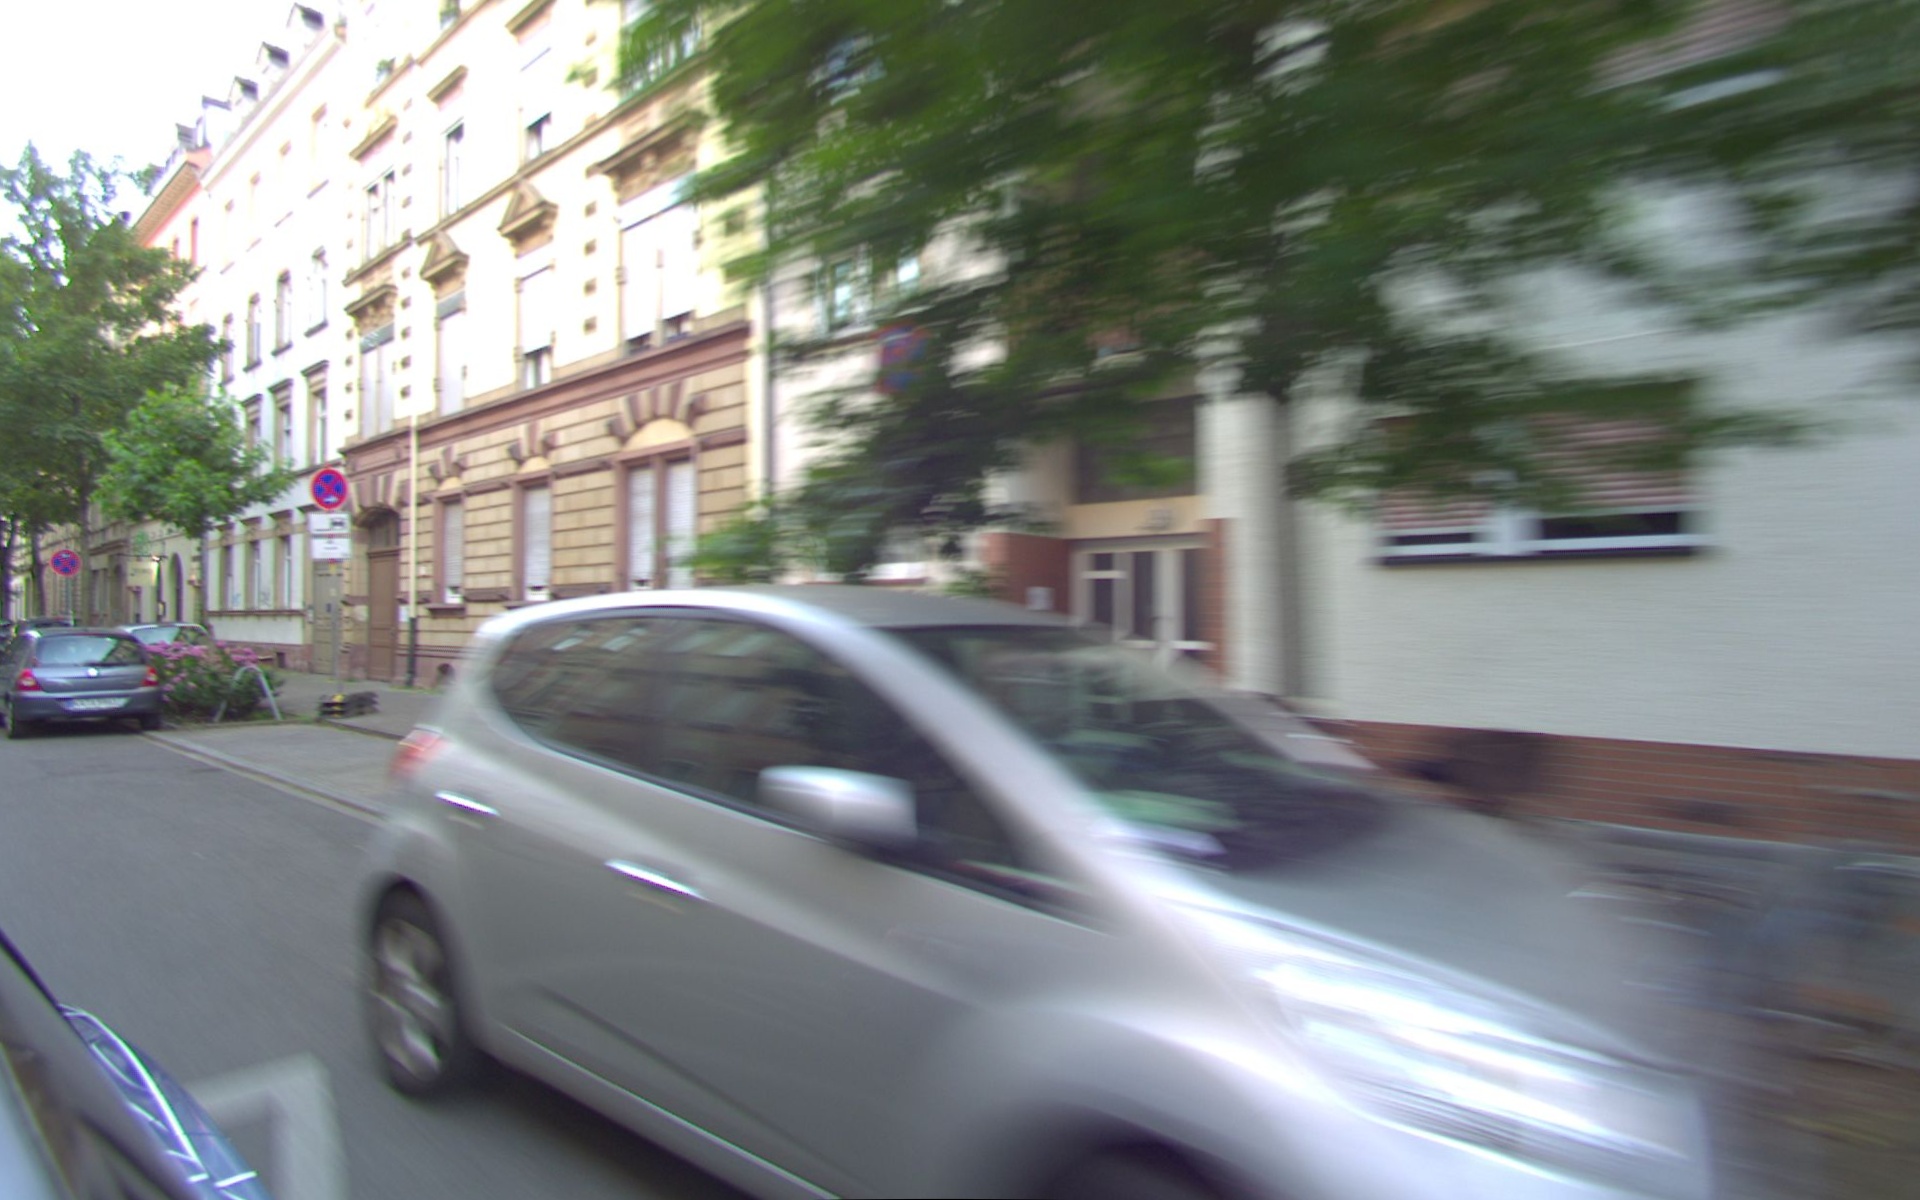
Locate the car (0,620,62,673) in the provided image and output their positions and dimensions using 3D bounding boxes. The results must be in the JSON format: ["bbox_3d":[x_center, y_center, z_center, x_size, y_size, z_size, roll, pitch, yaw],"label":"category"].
[{"bbox_3d":[-30.241,1.445,32.304,4.683,1.529,1.787,-1,0,41],"label":"car"}]

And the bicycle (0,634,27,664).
[{"bbox_3d":[-34.015,1.772,35.640,0.430,1.011,1.666,-1,1,42],"label":"bicycle"}]

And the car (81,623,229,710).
[{"bbox_3d":[-15.308,1.187,19.198,3.564,1.447,1.571,-1,0,41],"label":"car"}]

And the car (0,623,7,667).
[{"bbox_3d":[-37.629,1.720,38.581,3.861,1.619,1.658,-2,-1,43],"label":"car"}]

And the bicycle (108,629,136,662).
[{"bbox_3d":[-29.644,1.599,35.791,1.794,1.106,0.520,-1,-2,42],"label":"bicycle"}]

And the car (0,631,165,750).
[{"bbox_3d":[-12.655,1.169,14.279,3.751,1.431,1.563,-1,-2,41],"label":"car"}]

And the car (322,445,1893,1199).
[{"bbox_3d":[-0.126,0.675,2.912,3.995,1.575,1.647,-1,-2,38],"label":"car"}]

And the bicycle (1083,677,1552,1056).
[{"bbox_3d":[1.293,0.898,3.915,1.664,1.112,0.415,-1,-1,41],"label":"bicycle"}]

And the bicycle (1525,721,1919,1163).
[{"bbox_3d":[2.635,0.914,3.035,1.702,1.002,0.578,0,-2,-15],"label":"bicycle"}]

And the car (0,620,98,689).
[{"bbox_3d":[-23.710,1.355,26.128,4.077,1.592,1.688,-2,0,42],"label":"car"}]
